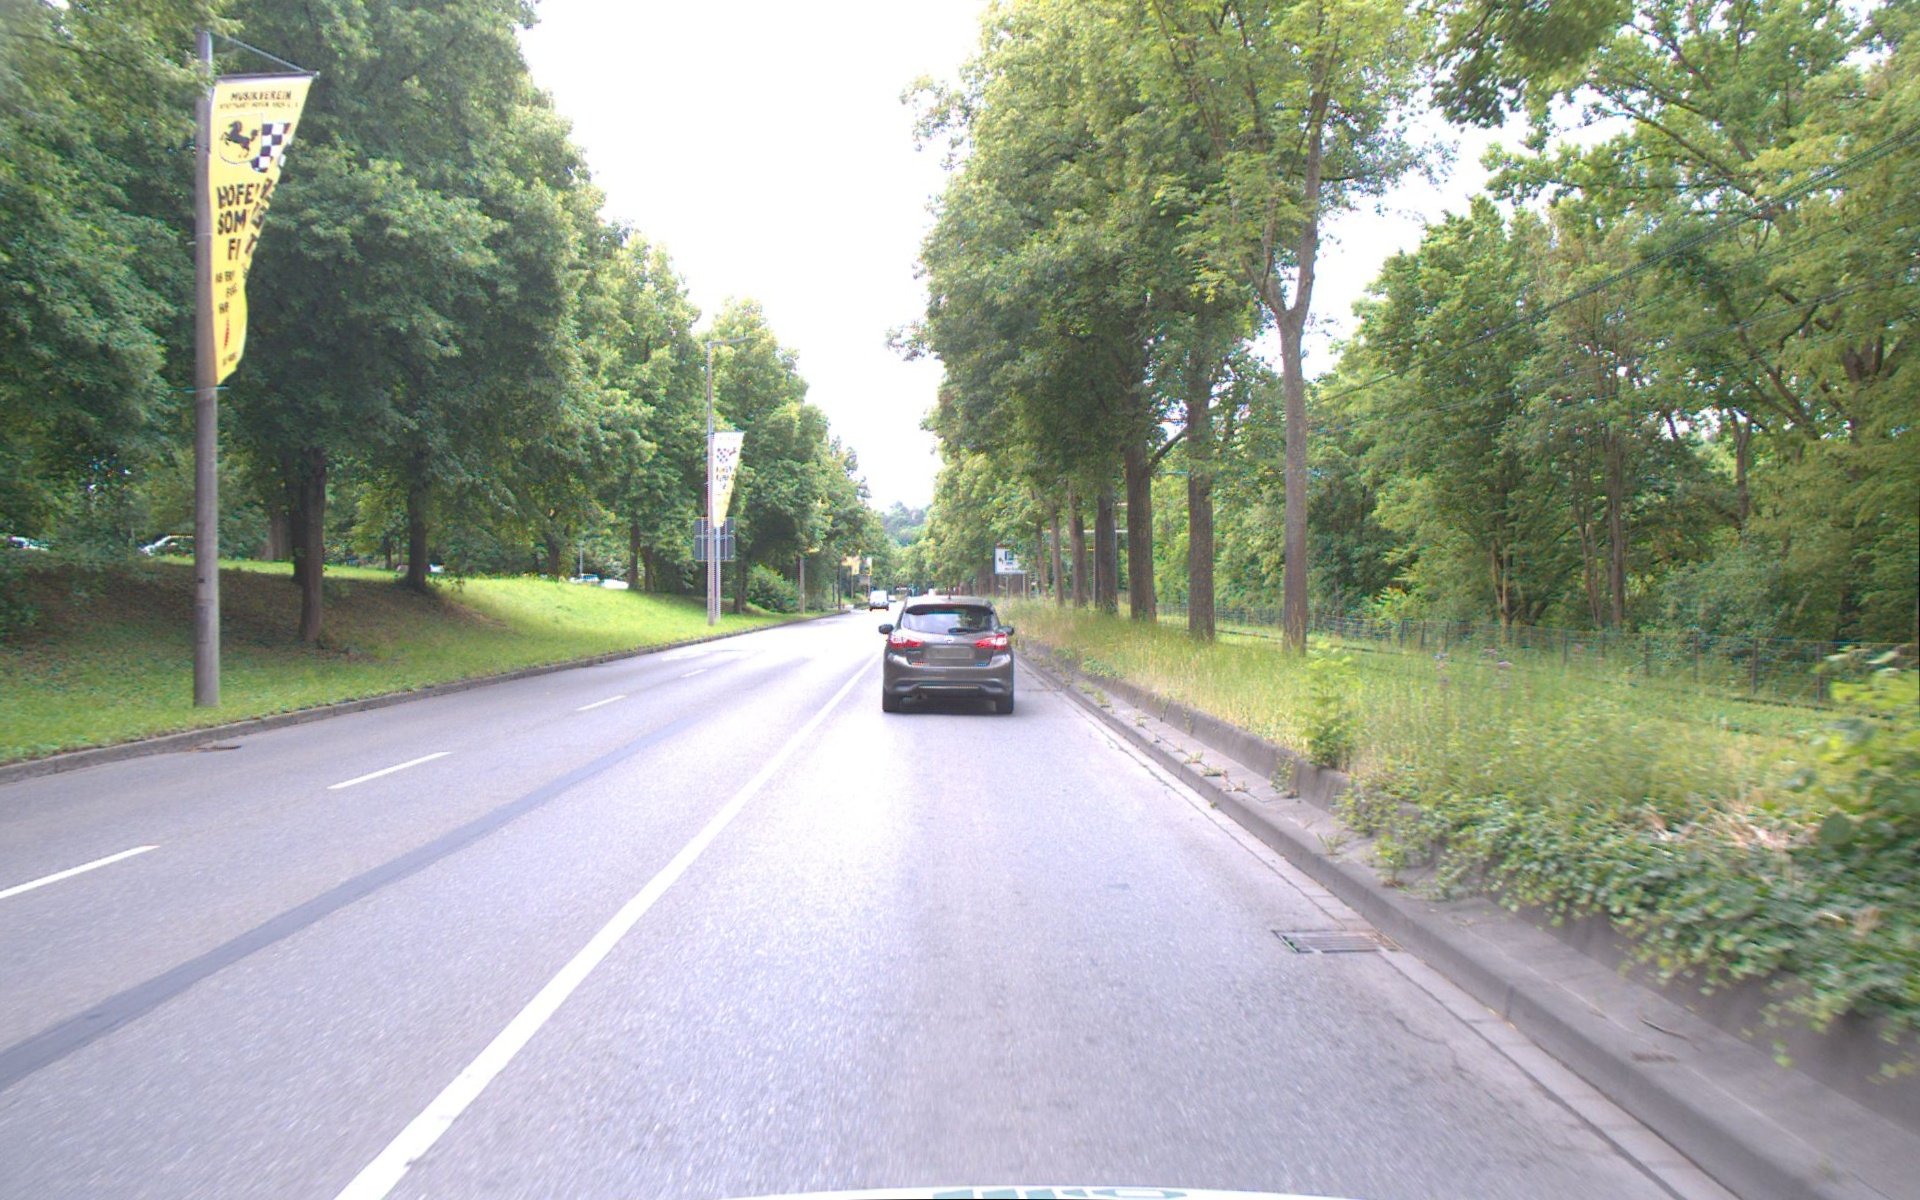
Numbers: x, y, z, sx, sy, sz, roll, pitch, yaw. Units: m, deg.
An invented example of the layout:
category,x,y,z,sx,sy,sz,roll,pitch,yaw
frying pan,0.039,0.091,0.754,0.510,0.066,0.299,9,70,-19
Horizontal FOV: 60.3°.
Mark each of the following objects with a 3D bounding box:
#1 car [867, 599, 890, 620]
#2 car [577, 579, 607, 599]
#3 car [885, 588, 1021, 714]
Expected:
category,x,y,z,sx,sy,sz,roll,pitch,yaw
car,-7.845,0.898,159.803,1.953,1.990,5.183,0,0,0
car,-29.991,-0.891,134.812,1.625,1.512,3.969,1,0,-24
car,-0.133,0.662,22.761,1.695,1.564,3.550,1,0,-2
